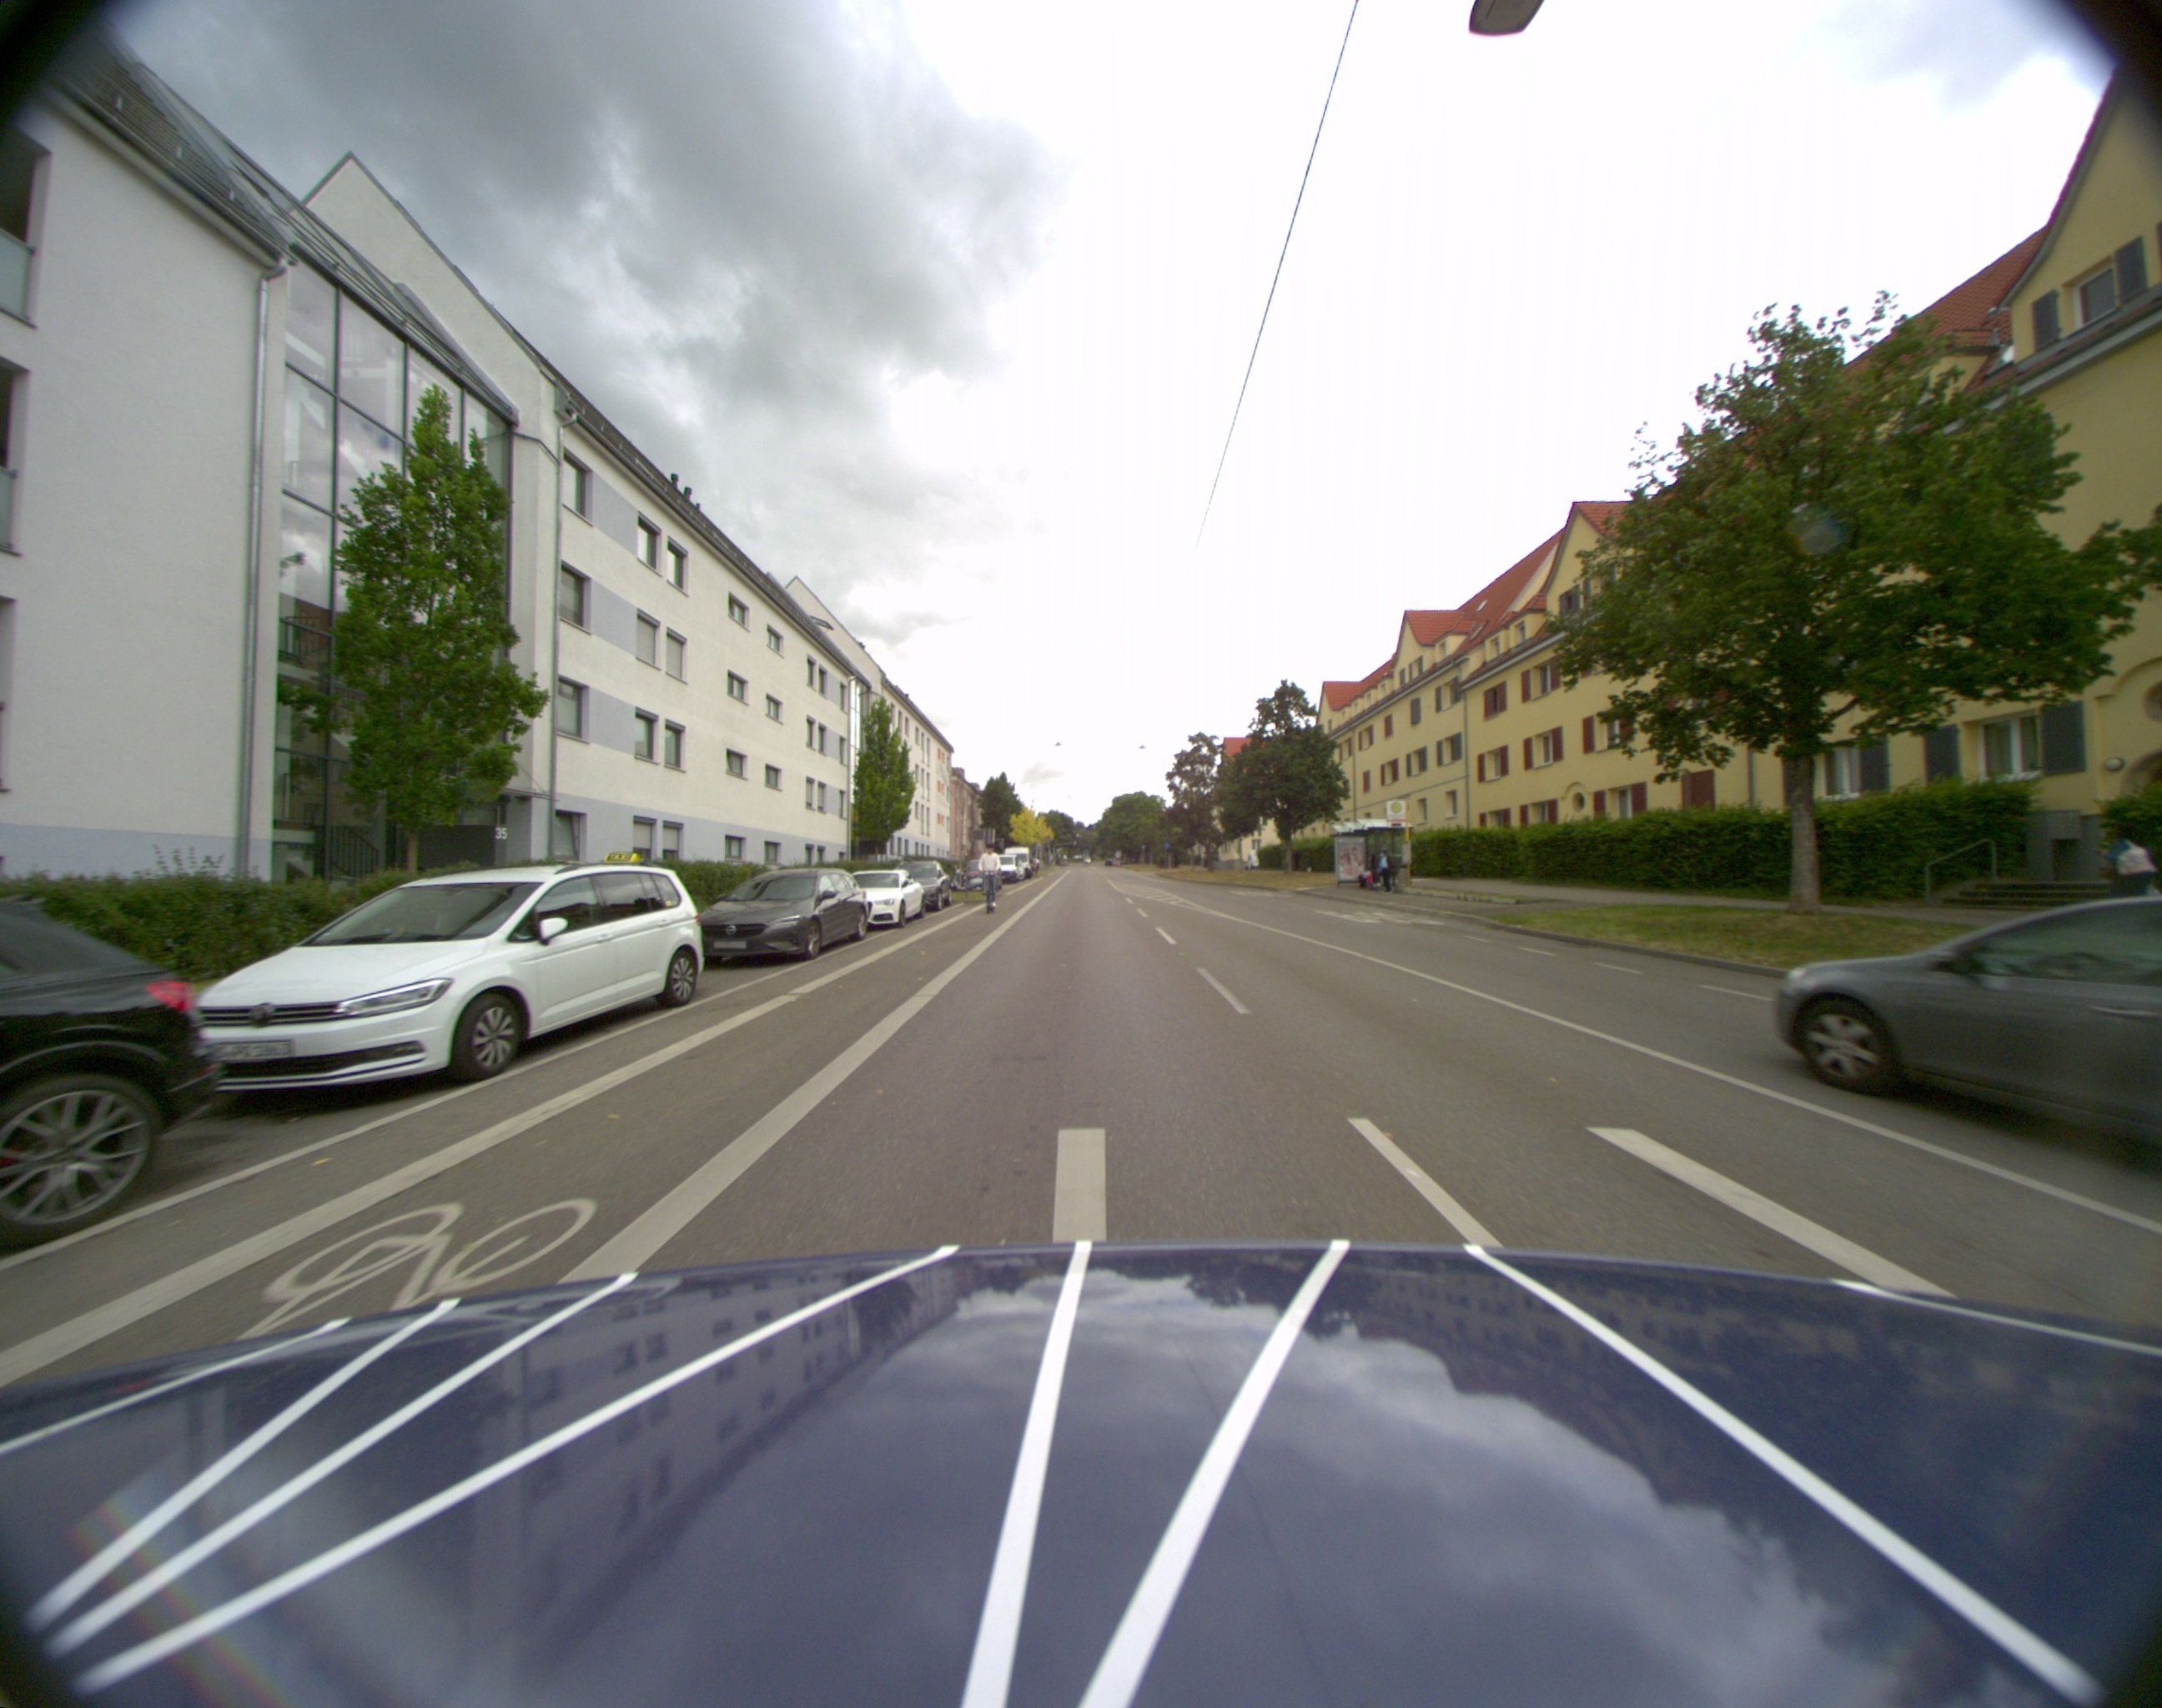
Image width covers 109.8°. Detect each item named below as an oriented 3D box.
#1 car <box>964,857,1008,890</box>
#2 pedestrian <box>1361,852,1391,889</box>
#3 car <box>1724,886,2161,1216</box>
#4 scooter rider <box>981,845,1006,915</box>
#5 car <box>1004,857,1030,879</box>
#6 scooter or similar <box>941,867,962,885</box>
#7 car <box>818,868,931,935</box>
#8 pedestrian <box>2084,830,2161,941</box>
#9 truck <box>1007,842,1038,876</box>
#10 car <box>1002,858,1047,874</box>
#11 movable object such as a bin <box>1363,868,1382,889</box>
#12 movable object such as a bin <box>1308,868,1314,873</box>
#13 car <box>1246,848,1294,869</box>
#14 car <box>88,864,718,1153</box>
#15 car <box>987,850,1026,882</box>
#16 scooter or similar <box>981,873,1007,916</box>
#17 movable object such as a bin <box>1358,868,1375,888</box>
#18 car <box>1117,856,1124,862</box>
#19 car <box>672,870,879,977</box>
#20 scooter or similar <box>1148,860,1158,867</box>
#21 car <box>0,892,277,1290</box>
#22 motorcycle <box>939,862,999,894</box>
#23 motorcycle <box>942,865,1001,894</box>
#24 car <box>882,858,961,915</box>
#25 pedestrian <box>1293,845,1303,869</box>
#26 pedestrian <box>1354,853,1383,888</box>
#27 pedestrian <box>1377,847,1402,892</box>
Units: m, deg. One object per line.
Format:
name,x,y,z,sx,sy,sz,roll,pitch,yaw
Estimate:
car,-4.714,0.957,38.185,1.685,1.535,4.339,-1,0,-1
pedestrian,12.340,0.677,31.833,0.901,1.501,0.806,-2,0,1
car,5.939,0.991,3.775,1.761,1.464,4.306,2,-1,-1
scooter rider,-2.544,0.745,22.211,0.627,2.002,0.758,-1,0,-1
car,-4.607,0.989,55.328,1.529,1.477,3.726,-2,0,0
scooter or similar,-8.044,1.372,47.165,1.382,1.098,0.471,-1,0,36
car,-5.090,1.099,19.347,1.735,1.405,4.499,-2,0,-2
pedestrian,15.824,0.460,11.424,0.642,1.609,0.618,-1,0,-1
truck,-4.648,0.392,61.037,2.058,2.550,5.689,-1,0,-1
car,-6.036,1.282,81.450,4.352,1.610,1.908,-1,0,19
movable object such as a bin,12.222,1.022,31.843,0.538,0.840,0.665,-2,0,1
movable object such as a bin,16.630,1.181,55.010,0.307,0.345,0.581,-1,0,6
car,20.849,0.476,83.933,4.729,2.240,1.995,0,0,1
car,-5.287,0.986,6.984,1.663,1.705,4.552,-2,0,0
car,-4.853,0.772,50.070,1.999,1.932,5.211,-1,0,0
scooter or similar,-2.524,1.157,22.188,0.492,1.156,2.075,-1,0,0
movable object such as a bin,12.408,1.027,33.038,0.465,0.821,0.665,-2,0,1
car,11.128,1.323,212.380,1.860,1.596,4.001,-1,0,1
car,-5.182,1.085,13.722,1.750,1.459,4.949,-2,0,-1
scooter or similar,10.426,1.400,109.280,1.374,1.080,0.466,0,0,-4
car,-5.310,1.036,1.889,1.739,1.579,4.572,-2,0,-1
motorcycle,-5.039,1.089,34.236,2.605,1.372,0.692,-1,0,-4
motorcycle,-5.051,1.163,35.098,2.605,1.271,0.753,-1,0,-4
car,-5.085,0.983,24.746,1.636,1.640,4.356,-2,0,-1
pedestrian,15.819,0.204,55.428,0.515,1.769,0.753,-1,0,0
pedestrian,12.486,0.705,33.042,0.901,1.465,0.806,-2,0,1
pedestrian,11.916,0.594,29.355,0.598,1.716,0.861,-2,0,3
